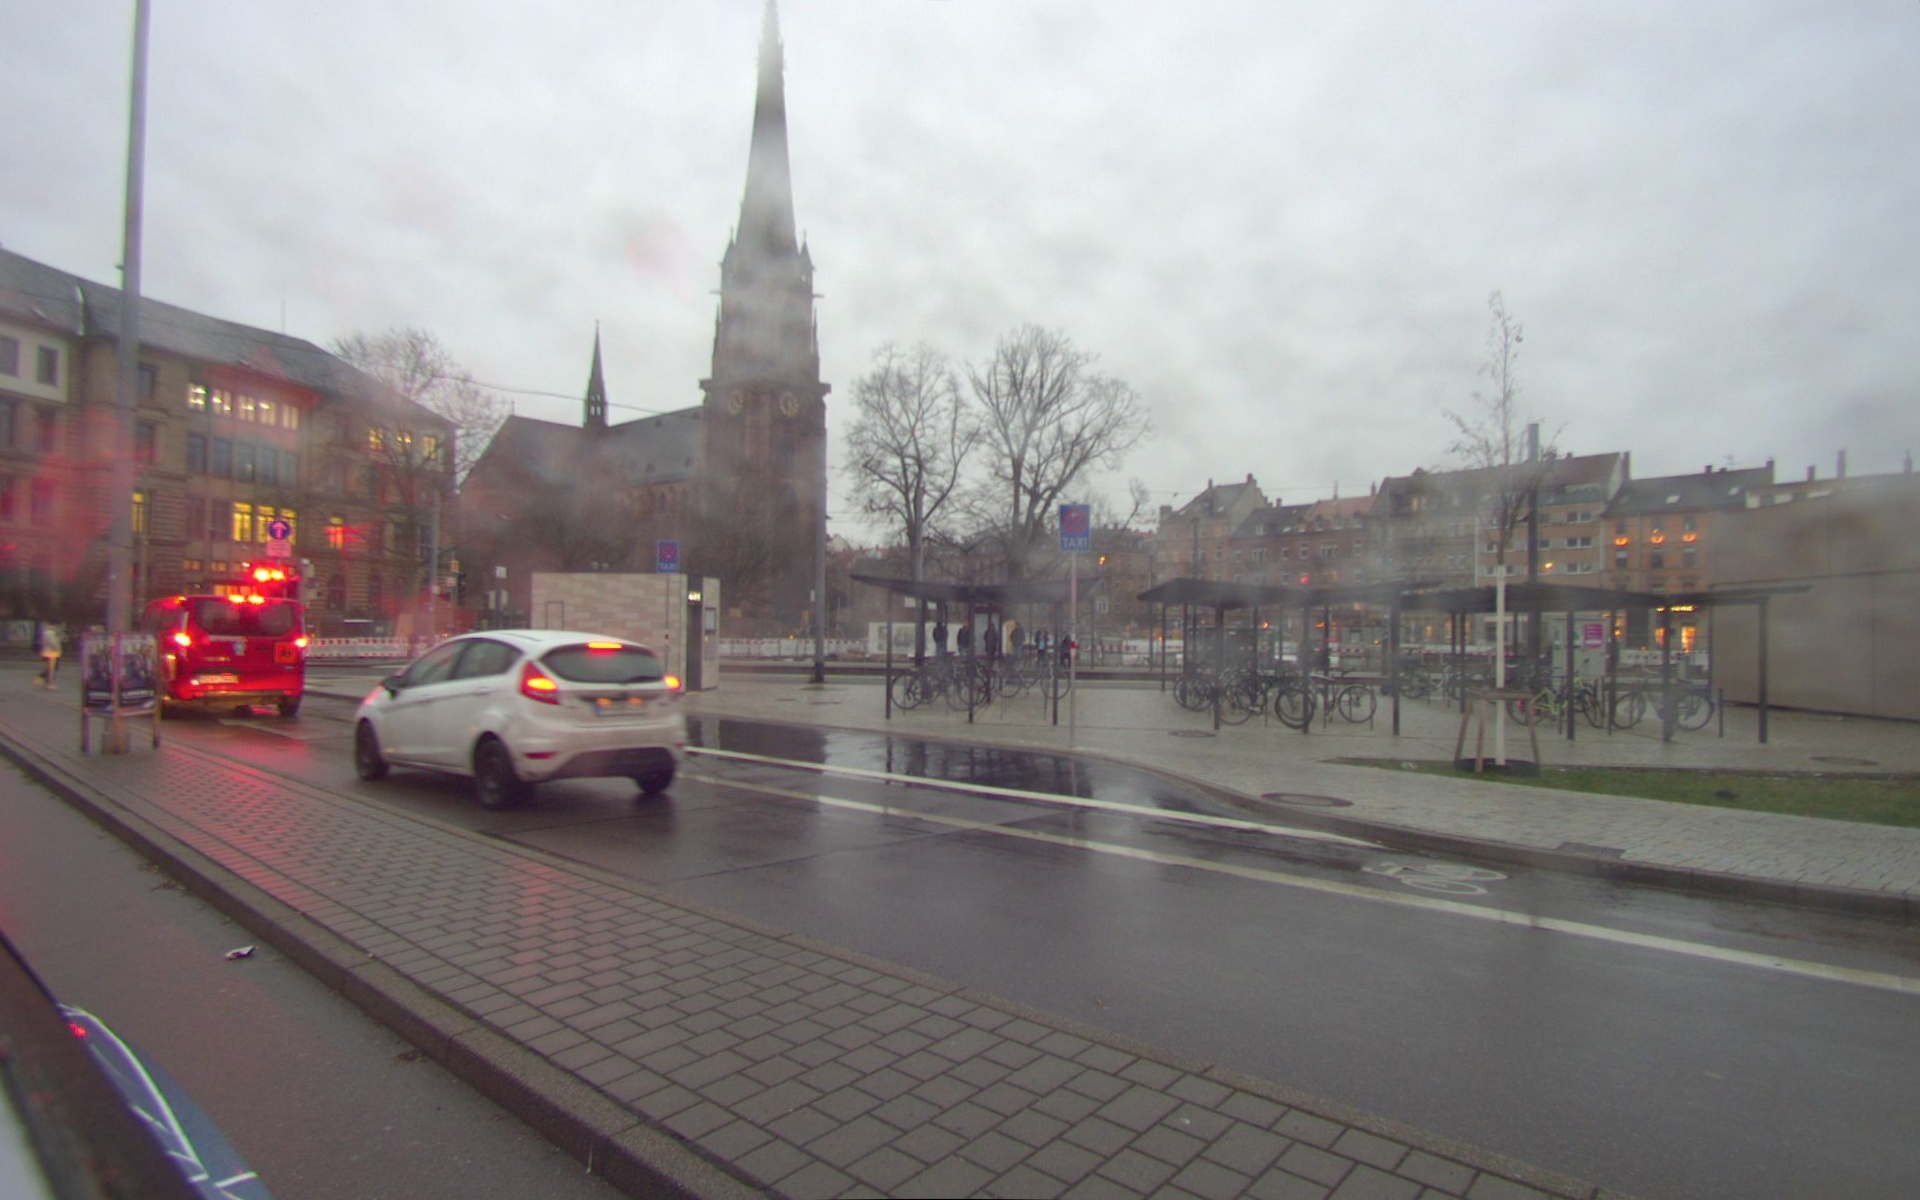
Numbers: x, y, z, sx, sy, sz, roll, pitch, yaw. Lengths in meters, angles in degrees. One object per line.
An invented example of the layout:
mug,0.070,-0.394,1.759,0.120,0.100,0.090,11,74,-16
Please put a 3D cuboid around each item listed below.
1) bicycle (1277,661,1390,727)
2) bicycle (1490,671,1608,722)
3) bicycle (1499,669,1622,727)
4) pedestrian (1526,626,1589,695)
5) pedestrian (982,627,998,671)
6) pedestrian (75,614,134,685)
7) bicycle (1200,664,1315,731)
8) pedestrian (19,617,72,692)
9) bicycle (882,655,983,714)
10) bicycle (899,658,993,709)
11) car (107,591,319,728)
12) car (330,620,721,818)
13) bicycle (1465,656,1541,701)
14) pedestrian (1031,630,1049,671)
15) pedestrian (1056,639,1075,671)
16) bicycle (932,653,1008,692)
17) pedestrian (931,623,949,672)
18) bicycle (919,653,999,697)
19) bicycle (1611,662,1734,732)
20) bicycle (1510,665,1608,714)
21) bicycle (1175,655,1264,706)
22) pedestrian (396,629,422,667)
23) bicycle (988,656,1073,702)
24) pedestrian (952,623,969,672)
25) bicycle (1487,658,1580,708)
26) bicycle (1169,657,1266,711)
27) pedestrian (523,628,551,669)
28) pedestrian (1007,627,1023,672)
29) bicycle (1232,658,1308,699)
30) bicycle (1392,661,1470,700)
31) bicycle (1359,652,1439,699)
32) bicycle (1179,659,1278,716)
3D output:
bicycle,6.946,1.733,18.874,1.905,1.129,0.473,1,-1,11
bicycle,11.368,1.860,19.579,1.905,0.898,0.473,1,-1,11
bicycle,11.127,1.812,18.792,1.905,0.983,0.473,1,-1,11
pedestrian,15.908,1.610,26.980,1.053,1.778,1.010,0,-3,3
pedestrian,1.149,1.857,38.659,0.556,1.664,0.540,-1,0,-1
pedestrian,-23.578,1.349,27.904,0.670,1.915,0.991,0,-3,25
bicycle,5.257,1.718,17.964,1.905,1.078,0.473,1,-1,11
pedestrian,-21.933,1.300,24.280,0.673,1.736,0.788,-1,-3,40
bicycle,-0.537,1.652,19.874,1.905,1.078,0.473,1,-1,11
bicycle,-0.286,1.732,21.112,1.905,0.993,0.473,1,-1,11
car,-13.174,0.995,17.744,4.640,2.086,1.904,-1,-4,40
car,-4.124,0.970,9.423,3.709,1.459,1.723,-1,-4,38
bicycle,13.233,1.914,24.672,1.551,1.044,0.521,1,-1,1
pedestrian,3.034,1.908,38.339,0.580,1.513,0.675,-1,0,-1
pedestrian,3.981,2.070,38.331,0.610,1.165,0.806,-1,0,-1
bicycle,0.272,1.866,26.134,1.905,0.917,0.473,1,-1,11
pedestrian,-0.758,1.809,38.411,0.660,1.808,0.827,-1,0,-2
bicycle,-0.014,1.827,24.876,1.905,0.993,0.473,1,-1,11
bicycle,12.690,1.723,18.054,1.731,1.165,0.617,1,-1,1
bicycle,12.901,1.917,21.838,1.751,0.963,0.473,1,-1,11
bicycle,5.850,1.807,22.857,1.905,1.078,0.473,1,-1,11
pedestrian,-27.120,2.350,49.828,0.891,1.830,0.670,0,-3,18
bicycle,1.640,1.820,23.431,1.905,0.993,0.473,1,-1,11
pedestrian,0.004,1.799,38.586,0.619,1.808,0.672,-1,0,-1
bicycle,13.254,1.907,23.425,1.810,1.081,0.474,1,-1,8
bicycle,5.432,1.771,21.408,1.899,1.078,0.474,1,-1,2
pedestrian,-20.286,2.334,48.513,0.962,1.915,0.673,1,-2,6
pedestrian,2.068,1.853,38.121,0.543,1.648,0.571,-1,0,-1
bicycle,7.663,1.940,25.078,1.729,0.946,0.474,1,-1,7
bicycle,11.622,1.989,24.999,1.672,0.898,0.474,1,-1,5
bicycle,11.185,1.923,25.810,1.780,1.116,0.473,1,-1,11
bicycle,5.445,1.773,20.625,1.905,1.078,0.473,1,-1,11
